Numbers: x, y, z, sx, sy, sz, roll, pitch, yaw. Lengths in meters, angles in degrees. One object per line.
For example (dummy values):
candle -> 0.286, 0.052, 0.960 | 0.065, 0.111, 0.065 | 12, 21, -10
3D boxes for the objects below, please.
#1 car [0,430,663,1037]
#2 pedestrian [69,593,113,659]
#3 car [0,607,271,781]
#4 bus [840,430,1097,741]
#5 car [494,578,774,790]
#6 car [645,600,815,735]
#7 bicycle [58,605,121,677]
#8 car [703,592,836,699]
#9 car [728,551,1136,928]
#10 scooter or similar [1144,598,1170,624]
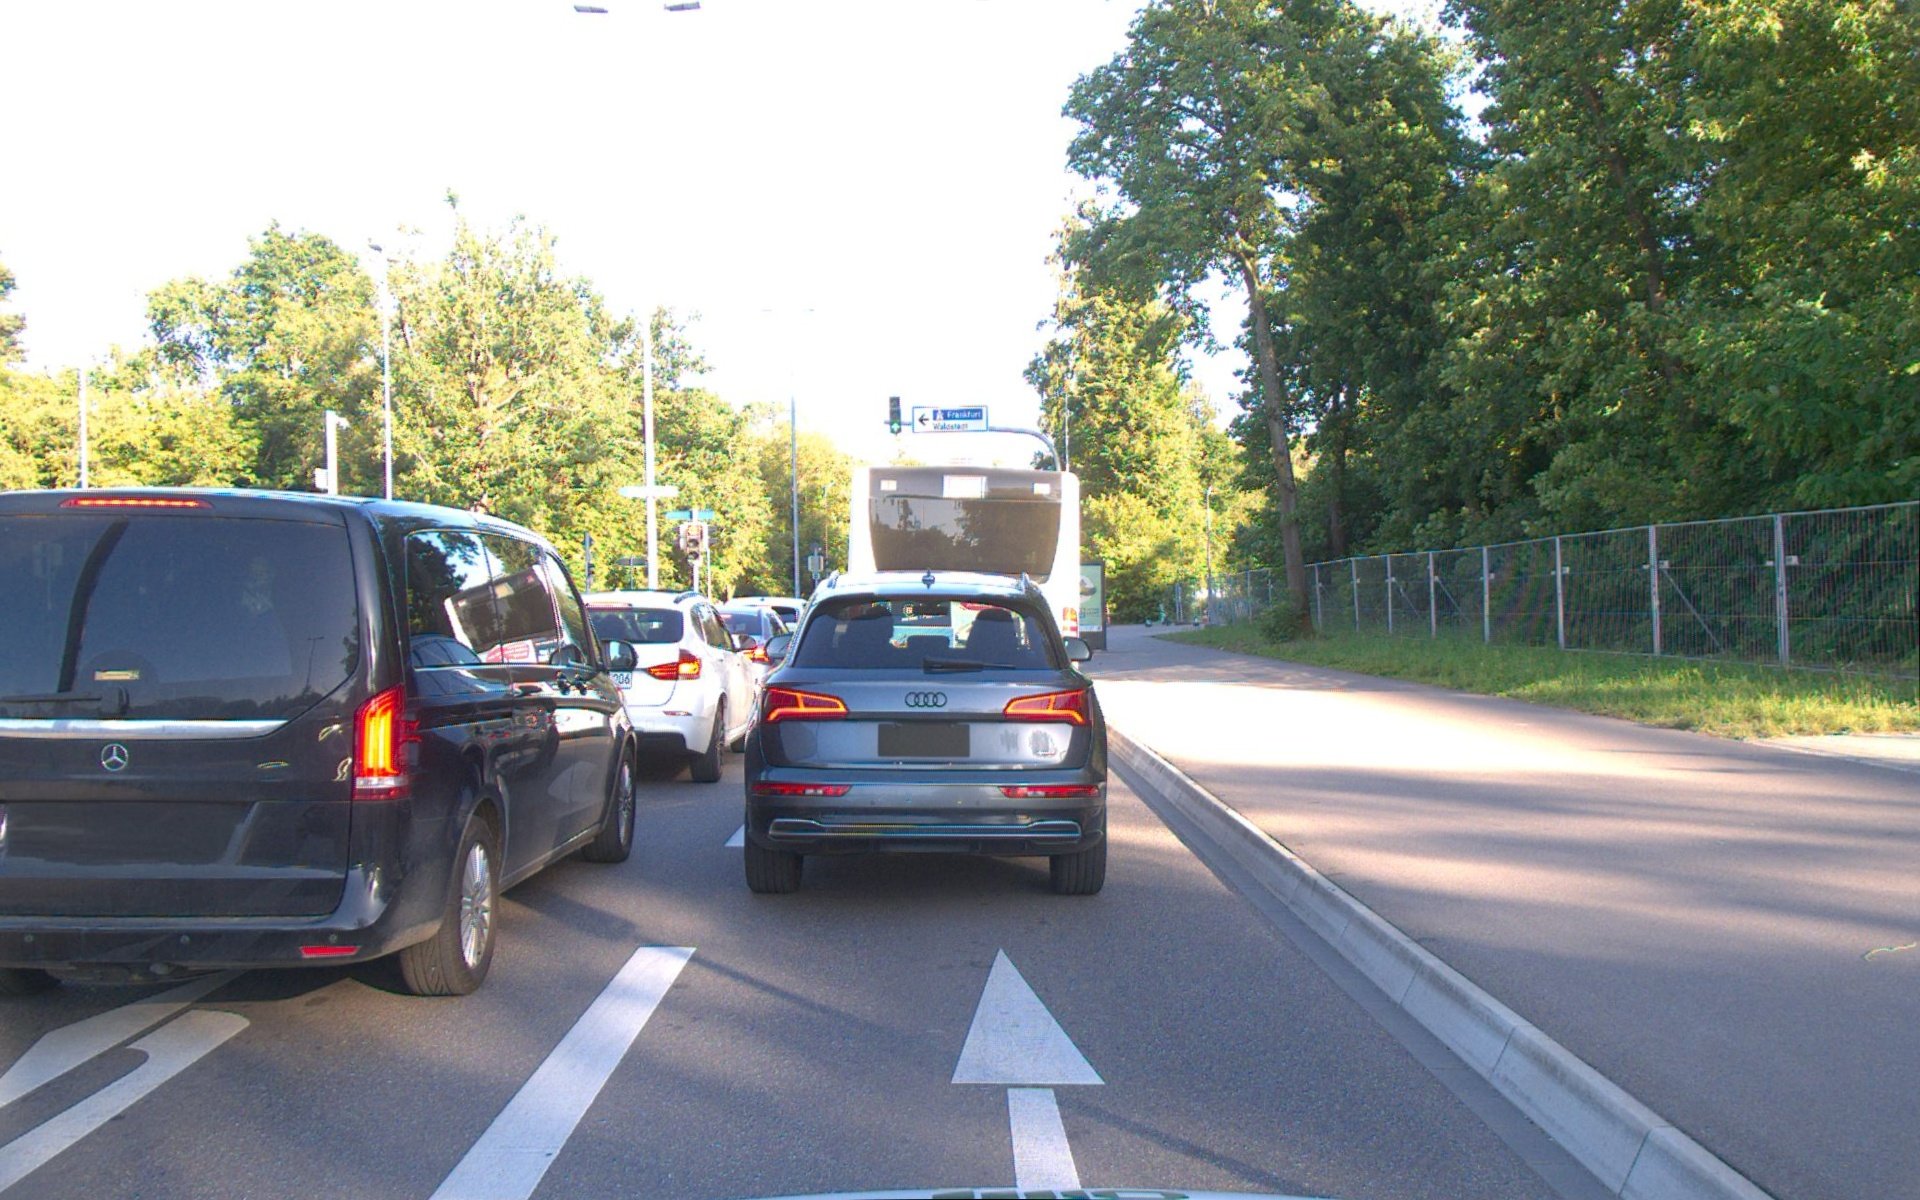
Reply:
car -> -2.716, 0.425, 7.617 | 1.868, 1.888, 4.872 | 1, 0, -1
pedestrian -> -22.202, 0.656, 42.257 | 0.681, 1.654, 0.789 | 1, -1, -1
car -> -8.111, 0.787, 15.621 | 1.567, 1.420, 3.843 | 1, 0, 0
bus -> 0.112, -0.183, 20.173 | 2.623, 3.197, 5.882 | 1, 1, 0
car -> -2.753, 0.658, 14.936 | 1.683, 1.608, 4.433 | 1, 0, -1
car -> -2.818, 0.774, 21.067 | 1.749, 1.469, 4.275 | 1, 1, -3
bicycle -> -22.213, 1.019, 42.225 | 0.603, 1.780, 1.992 | 1, -1, -3
car -> -3.079, 0.697, 27.466 | 1.771, 1.599, 3.999 | 1, 1, -1
car -> -0.153, 0.619, 9.535 | 1.830, 1.693, 3.999 | 1, 1, -1
scooter or similar -> 9.283, 0.531, 77.835 | 1.158, 1.195, 0.659 | 1, 0, 11
